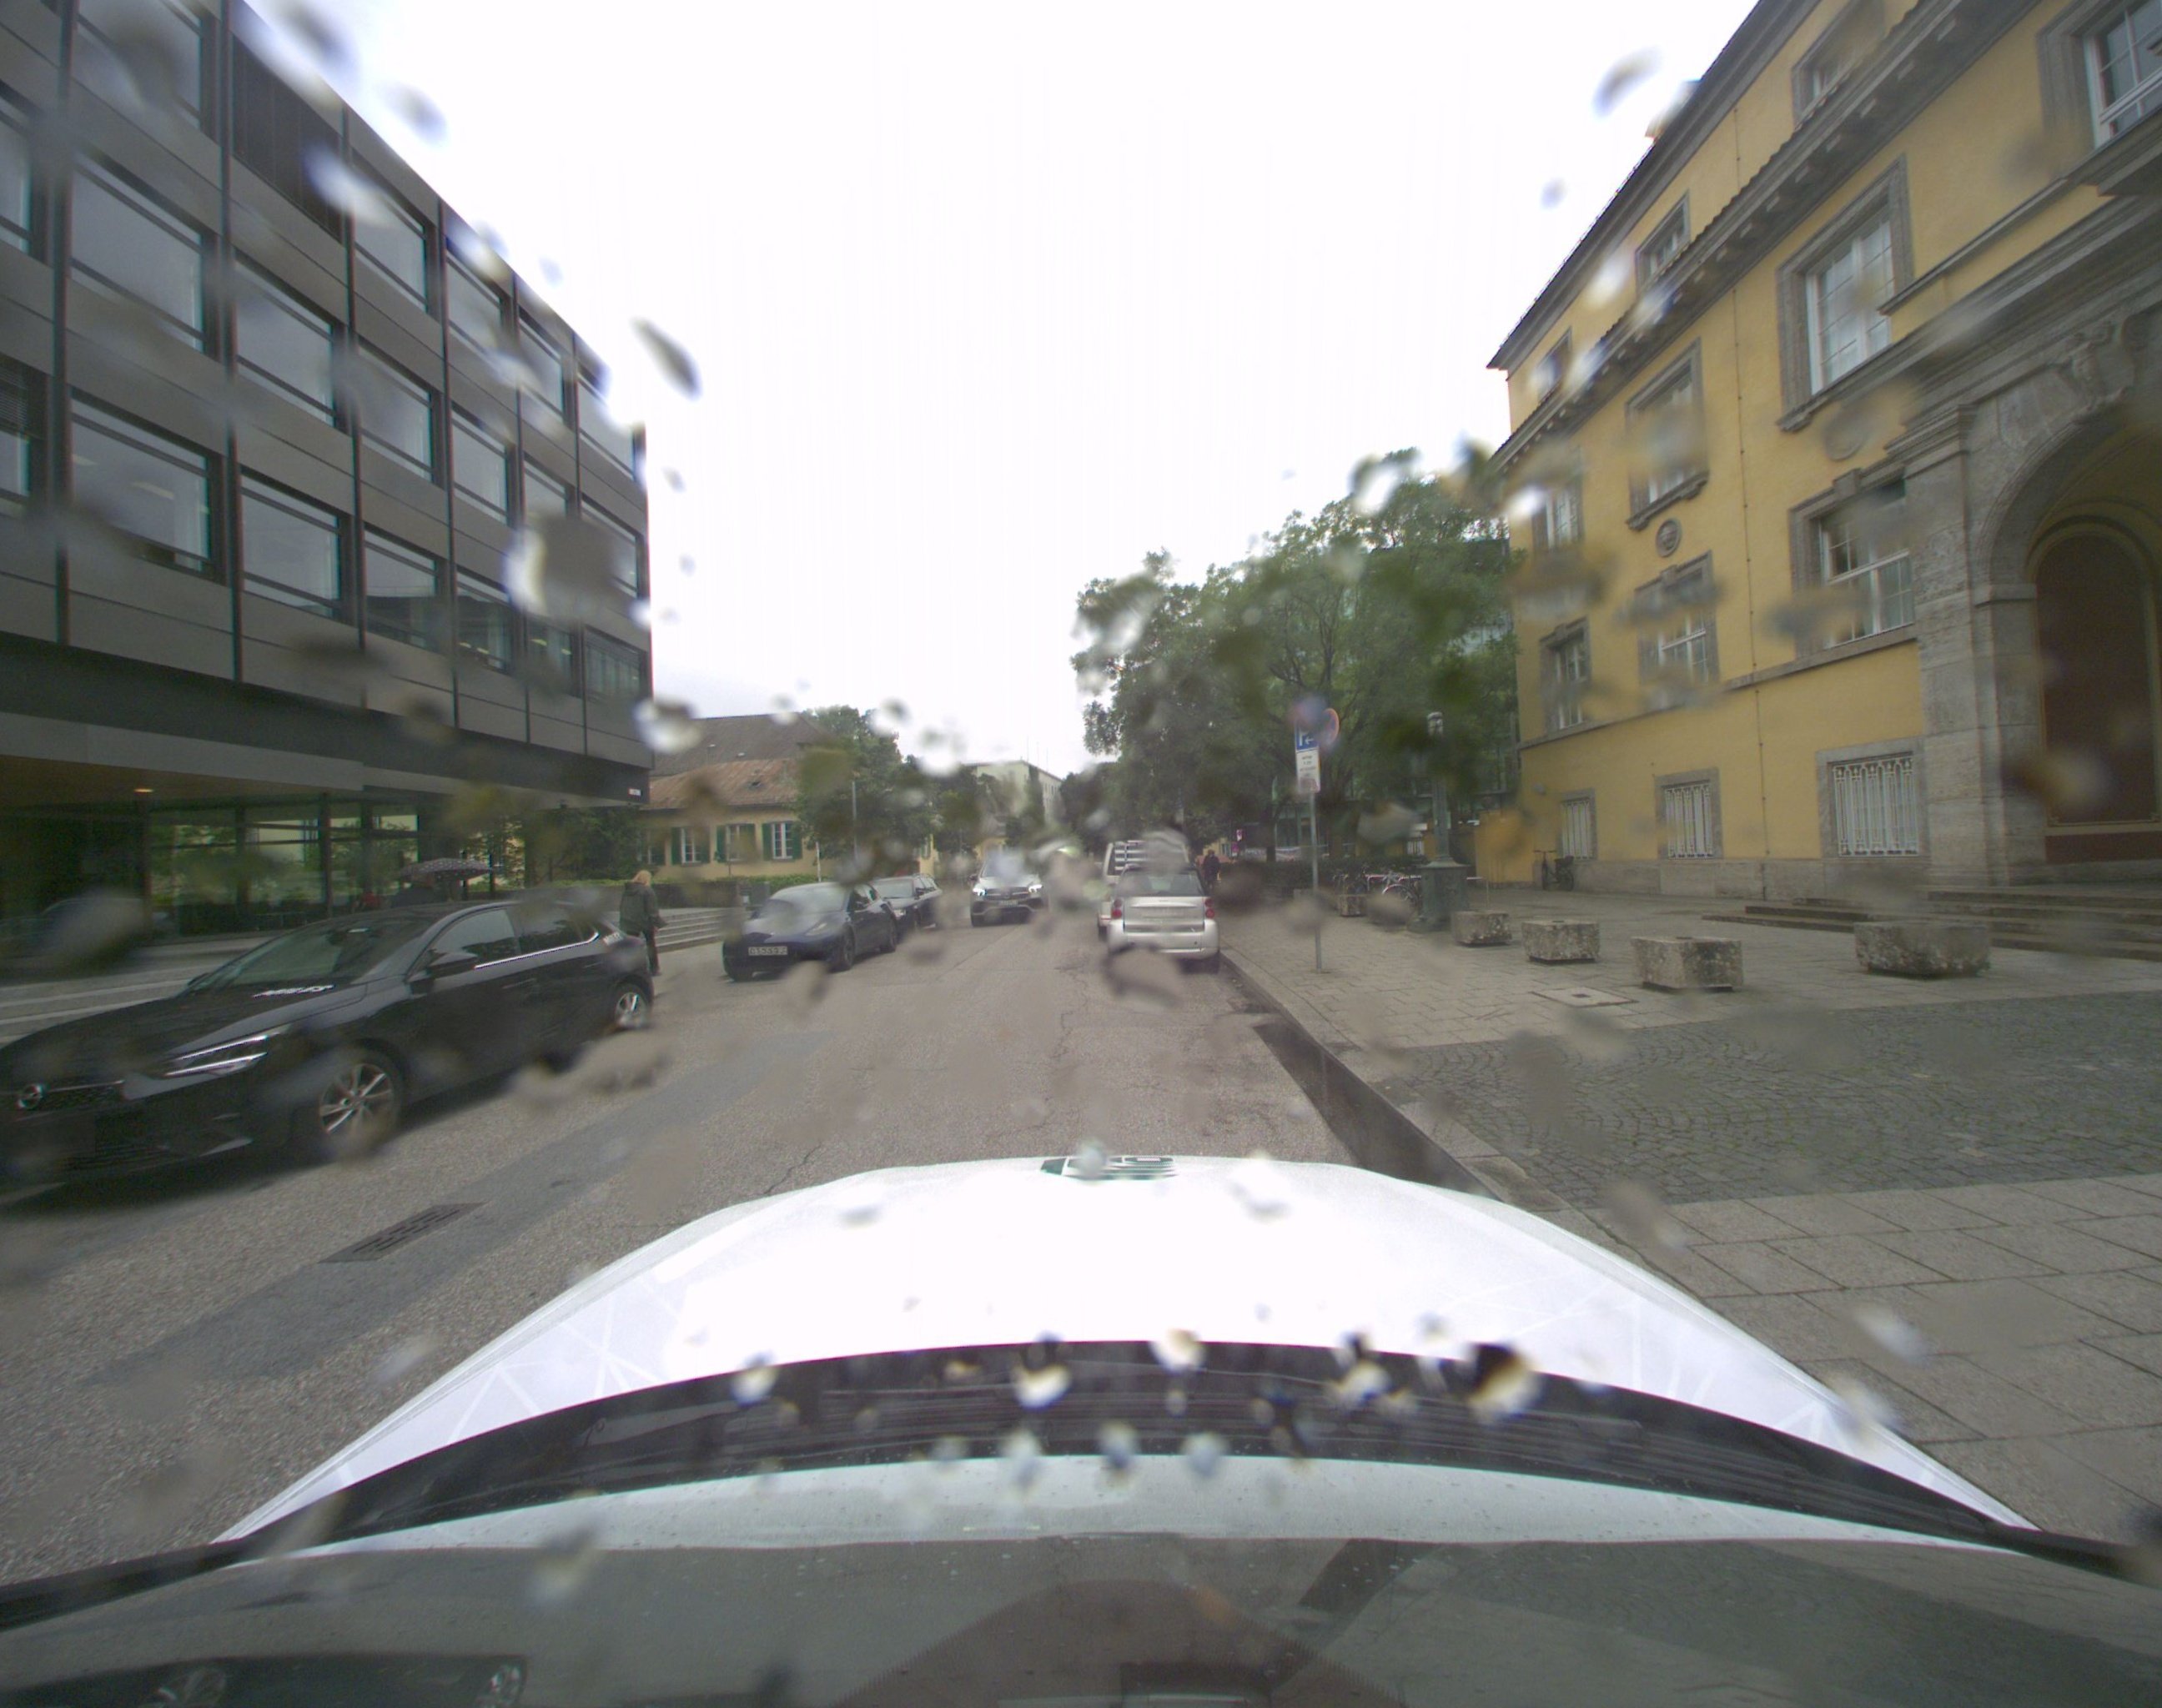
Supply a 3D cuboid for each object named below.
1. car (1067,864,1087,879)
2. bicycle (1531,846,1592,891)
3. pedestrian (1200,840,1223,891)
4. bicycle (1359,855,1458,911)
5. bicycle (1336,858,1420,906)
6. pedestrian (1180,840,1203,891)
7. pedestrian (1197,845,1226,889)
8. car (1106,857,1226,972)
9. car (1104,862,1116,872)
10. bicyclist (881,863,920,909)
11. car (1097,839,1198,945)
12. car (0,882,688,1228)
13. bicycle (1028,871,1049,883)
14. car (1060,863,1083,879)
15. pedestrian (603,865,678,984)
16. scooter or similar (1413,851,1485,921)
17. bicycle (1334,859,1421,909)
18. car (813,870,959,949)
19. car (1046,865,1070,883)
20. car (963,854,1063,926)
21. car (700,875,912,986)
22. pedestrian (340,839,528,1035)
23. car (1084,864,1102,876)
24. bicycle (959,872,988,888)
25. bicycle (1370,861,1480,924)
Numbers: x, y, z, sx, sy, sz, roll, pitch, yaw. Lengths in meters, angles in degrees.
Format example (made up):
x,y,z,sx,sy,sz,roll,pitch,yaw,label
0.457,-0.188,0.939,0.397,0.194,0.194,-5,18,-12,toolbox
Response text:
x,y,z,sx,sy,sz,roll,pitch,yaw,label
-0.460,1.981,93.108,1.985,1.603,4.003,-2,-2,4,car
13.139,0.371,22.324,0.540,1.154,1.902,-3,0,1,bicycle
5.602,0.484,35.013,0.740,2.135,1.056,-3,-1,1,pedestrian
7.272,0.641,18.128,1.923,1.113,0.472,-4,-1,4,bicycle
7.723,0.727,21.222,1.923,1.113,0.472,-4,-1,3,bicycle
4.784,0.496,35.292,0.740,2.135,1.056,-3,-1,1,pedestrian
5.819,0.576,36.220,0.735,1.907,1.062,-4,-1,37,pedestrian
1.208,0.838,12.483,1.599,1.546,2.935,0,-1,2,car
5.050,2.286,142.182,1.802,1.683,4.005,-3,-1,4,car
-6.109,1.097,27.559,1.097,1.498,0.668,-1,-3,-26,bicyclist
1.279,0.728,17.588,1.838,1.933,5.273,0,-1,1,car
-4.948,1.061,5.998,1.732,1.461,4.240,-5,-1,3,car
-3.698,1.965,71.000,0.615,1.004,2.154,0,0,35,bicycle
-0.957,1.798,88.039,1.984,1.648,4.661,-2,-1,5,car
-6.878,1.070,12.761,0.754,1.749,0.948,-2,-1,-14,pedestrian
6.728,0.590,14.901,0.541,1.222,1.000,-3,-1,-43,scooter or similar
7.426,0.739,20.439,1.923,1.113,0.472,-4,-1,4,bicycle
-4.470,1.223,19.555,1.985,1.491,4.887,-4,-1,3,car
-2.112,1.800,75.471,1.725,1.581,3.793,0,-1,5,car
-1.737,0.914,22.506,2.016,1.689,4.681,-3,-1,3,car
-4.508,1.170,14.291,1.916,1.439,4.917,-4,-1,0,car
-7.281,0.882,9.248,1.131,2.055,1.221,-1,-1,1,pedestrian
1.685,2.122,110.911,1.983,1.486,4.007,-3,-1,7,car
-7.416,1.808,56.210,1.921,1.099,0.615,0,-1,5,bicycle
6.820,0.749,16.189,1.926,1.113,0.471,-4,-1,-1,bicycle
